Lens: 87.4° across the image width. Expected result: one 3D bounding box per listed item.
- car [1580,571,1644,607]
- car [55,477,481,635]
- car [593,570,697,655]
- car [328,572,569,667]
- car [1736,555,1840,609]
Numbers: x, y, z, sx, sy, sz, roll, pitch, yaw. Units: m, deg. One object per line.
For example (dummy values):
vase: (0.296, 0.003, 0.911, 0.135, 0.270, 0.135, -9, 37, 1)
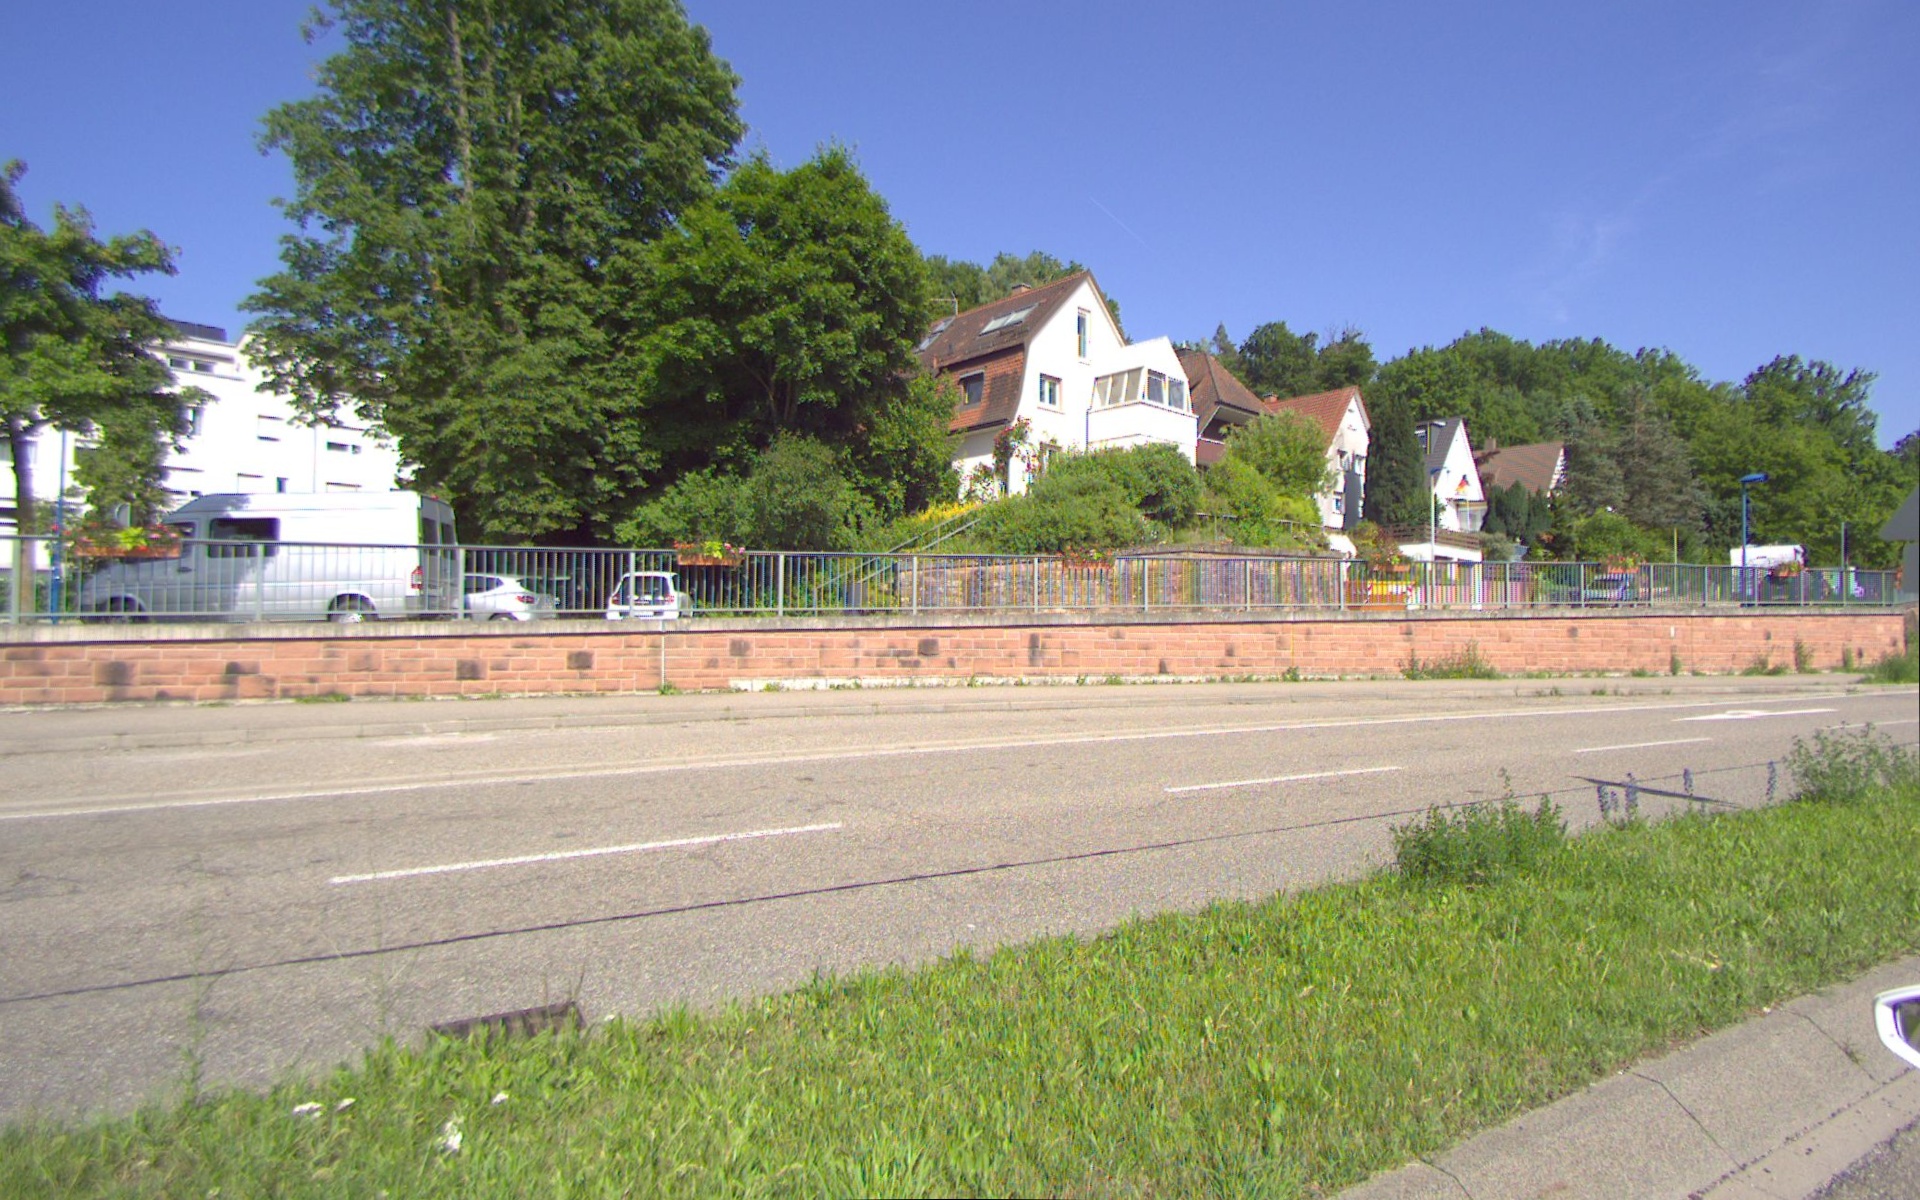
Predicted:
car: (31.215, -0.495, 48.037, 1.875, 1.651, 3.976, 0, -1, 44)
car: (-11.617, -0.710, 17.314, 5.678, 2.477, 2.097, 0, 2, -8)
car: (-7.625, 0.233, 24.666, 1.879, 1.901, 3.993, 0, 1, -9)
car: (-10.354, 0.391, 20.592, 3.922, 1.813, 1.921, 1, -1, -2)
car: (31.770, -0.696, 38.501, 4.686, 1.946, 2.006, 0, 2, -37)
